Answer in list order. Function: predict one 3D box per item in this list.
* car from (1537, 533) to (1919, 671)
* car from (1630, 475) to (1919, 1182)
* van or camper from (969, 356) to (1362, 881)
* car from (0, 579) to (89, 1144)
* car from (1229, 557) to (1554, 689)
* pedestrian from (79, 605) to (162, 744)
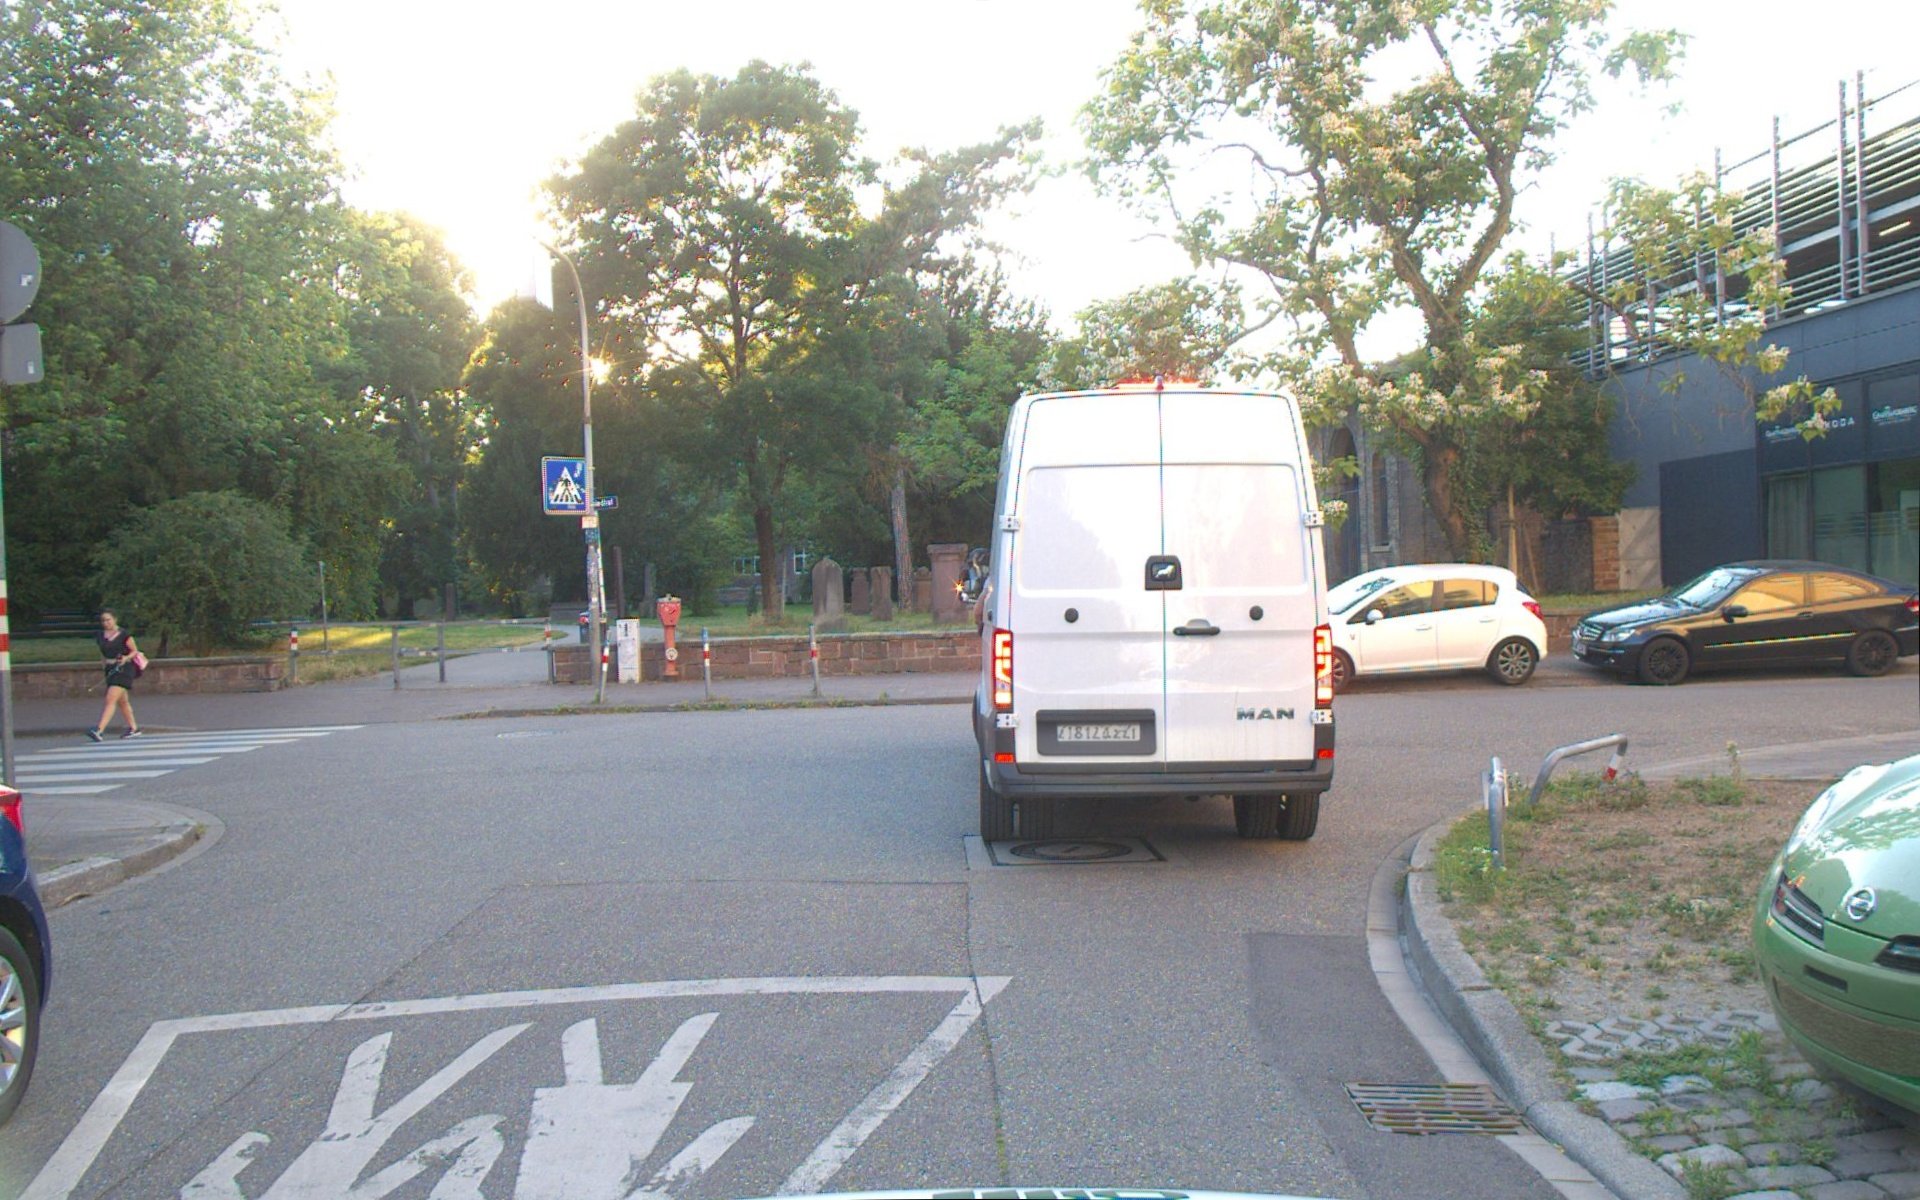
[{"bbox_3d":[10.091,0.017,21.942,4.204,1.529,1.824,-3,0,2],"label":"car"},{"bbox_3d":[4.351,0.436,4.414,4.317,1.660,1.844,-3,-1,-5],"label":"car"},{"bbox_3d":[1.081,0.069,11.745,1.953,2.664,6.403,-1,0,0],"label":"van or camper"},{"bbox_3d":[-3.474,0.797,3.254,1.700,1.594,3.787,-3,1,-5],"label":"car"},{"bbox_3d":[5.706,0.278,22.172,3.779,1.601,1.957,-1,1,-4],"label":"car"},{"bbox_3d":[-10.495,0.914,20.686,0.633,1.677,0.673,0,0,24],"label":"pedestrian"}]
